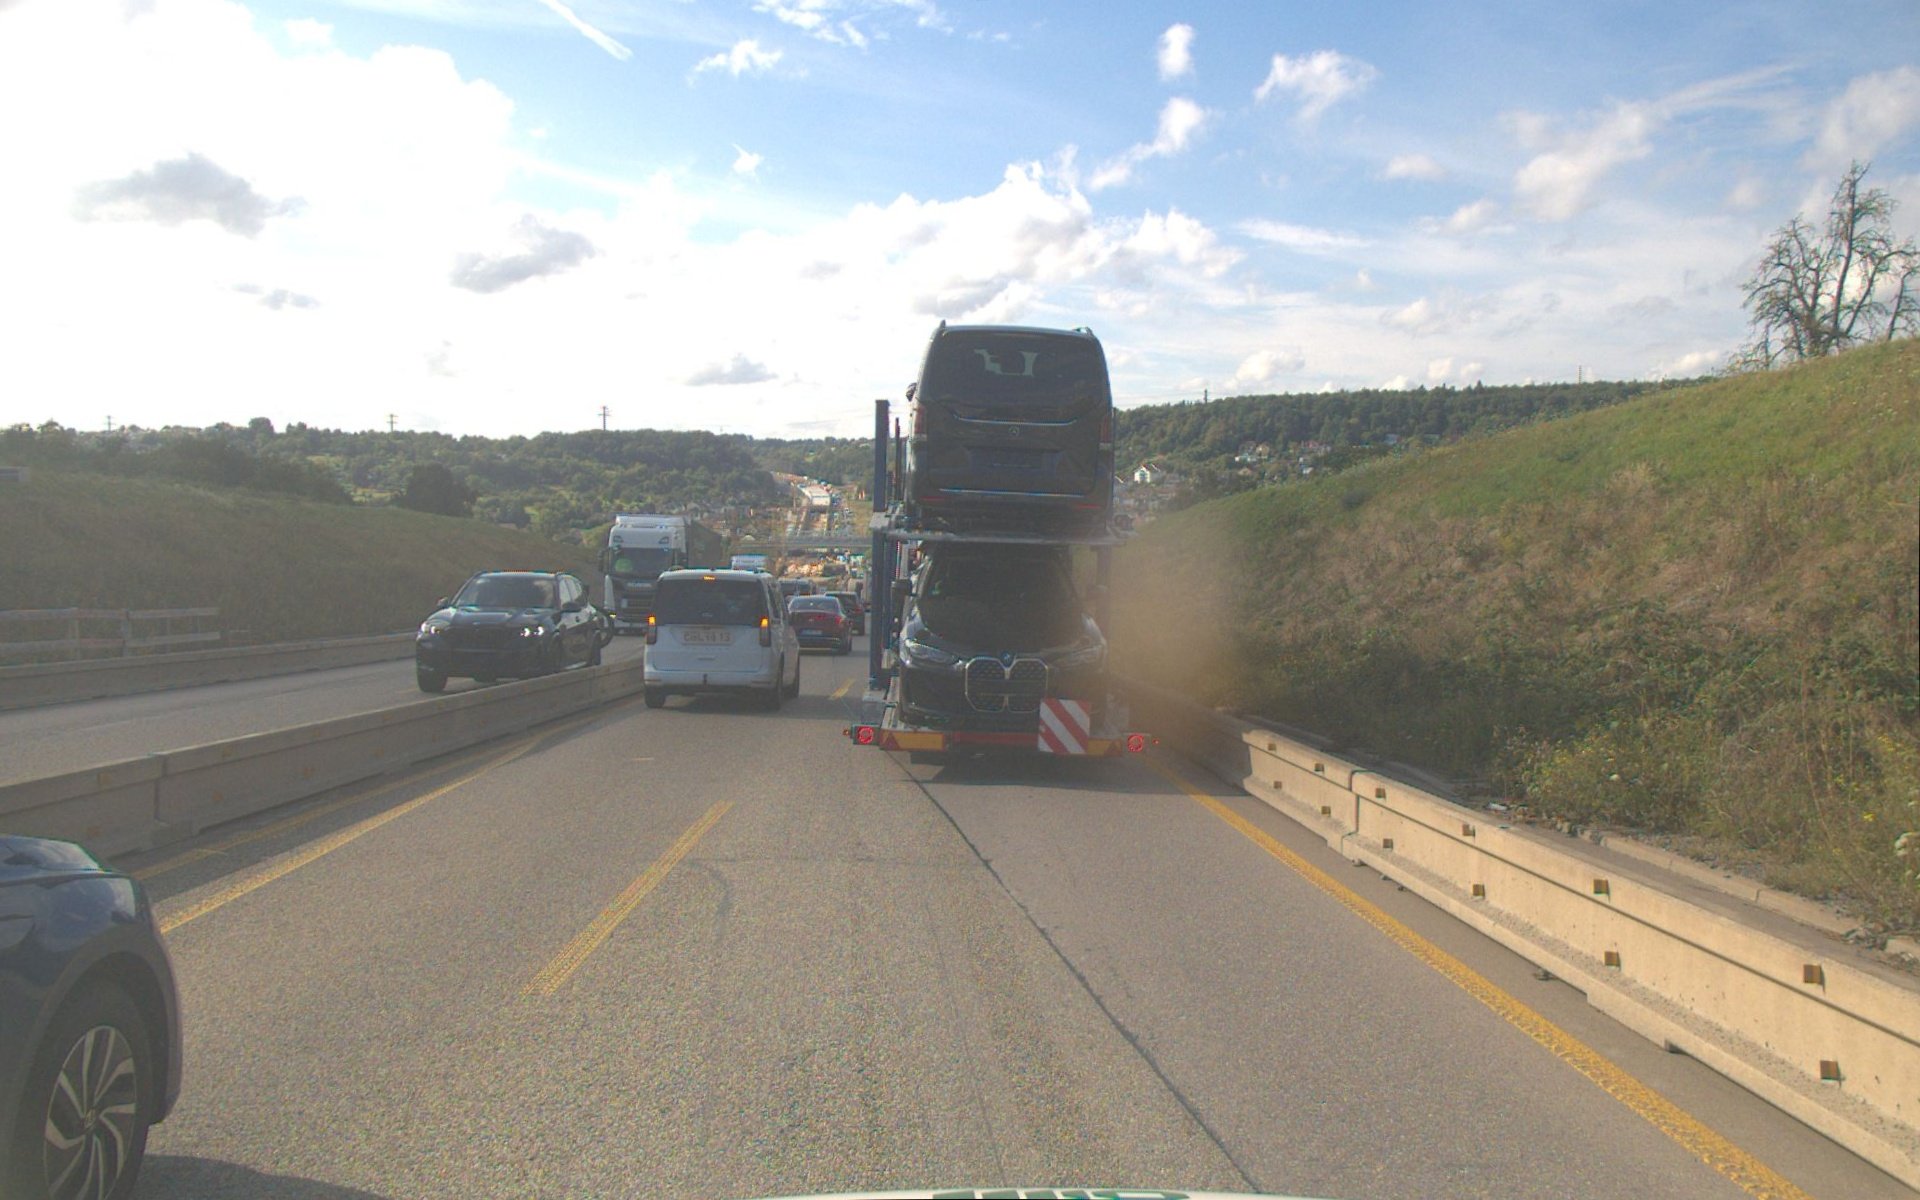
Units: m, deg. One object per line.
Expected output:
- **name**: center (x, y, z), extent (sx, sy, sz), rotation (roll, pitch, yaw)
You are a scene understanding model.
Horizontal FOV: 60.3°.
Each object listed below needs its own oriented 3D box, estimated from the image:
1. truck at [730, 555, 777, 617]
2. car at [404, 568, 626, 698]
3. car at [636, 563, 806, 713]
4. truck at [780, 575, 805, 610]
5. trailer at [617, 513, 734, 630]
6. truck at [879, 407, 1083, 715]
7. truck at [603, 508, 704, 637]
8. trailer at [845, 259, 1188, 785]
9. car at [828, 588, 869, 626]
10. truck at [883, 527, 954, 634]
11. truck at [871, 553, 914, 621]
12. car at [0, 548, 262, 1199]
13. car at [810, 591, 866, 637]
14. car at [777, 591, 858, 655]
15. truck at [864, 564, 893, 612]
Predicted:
- **truck**: center (-14.552, -0.943, 117.090), extent (2.586, 4.171, 10.810), rotation (1, 0, -3)
- **car**: center (-6.786, 0.426, 25.925), extent (1.908, 1.777, 5.579), rotation (1, 1, 0)
- **car**: center (-3.247, 0.463, 23.268), extent (1.786, 1.855, 4.455), rotation (2, 0, -2)
- **truck**: center (-20.794, -0.906, 205.697), extent (2.586, 4.171, 10.812), rotation (1, 0, -3)
- **trailer**: center (-10.772, -0.995, 64.037), extent (2.562, 4.023, 13.868), rotation (1, 0, -2)
- **truck**: center (0.195, -0.514, 24.566), extent (2.624, 3.990, 6.025), rotation (1, 0, -2)
- **truck**: center (-10.497, -0.905, 57.156), extent (2.562, 4.226, 5.779), rotation (1, 0, -2)
- **trailer**: center (0.301, -0.622, 18.687), extent (2.653, 4.099, 11.415), rotation (1, 0, -2)
- **car**: center (-4.977, 0.298, 74.125), extent (1.760, 1.624, 4.740), rotation (1, 0, -3)
- **truck**: center (-2.061, -0.861, 77.881), extent (2.807, 4.650, 11.648), rotation (1, 0, -4)
- **truck**: center (-5.008, -0.925, 121.294), extent (2.807, 4.650, 11.648), rotation (1, 0, -4)
- **car**: center (-2.668, 0.647, 2.310), extent (1.680, 1.534, 3.999), rotation (1, 0, 0)
- **car**: center (-4.676, 0.502, 64.009), extent (1.953, 1.653, 4.748), rotation (2, 0, -2)
- **car**: center (-3.683, 0.560, 43.436), extent (1.786, 1.518, 4.683), rotation (2, 0, -1)
- **truck**: center (-8.411, -1.217, 169.440), extent (2.807, 4.650, 11.648), rotation (1, 0, -4)
